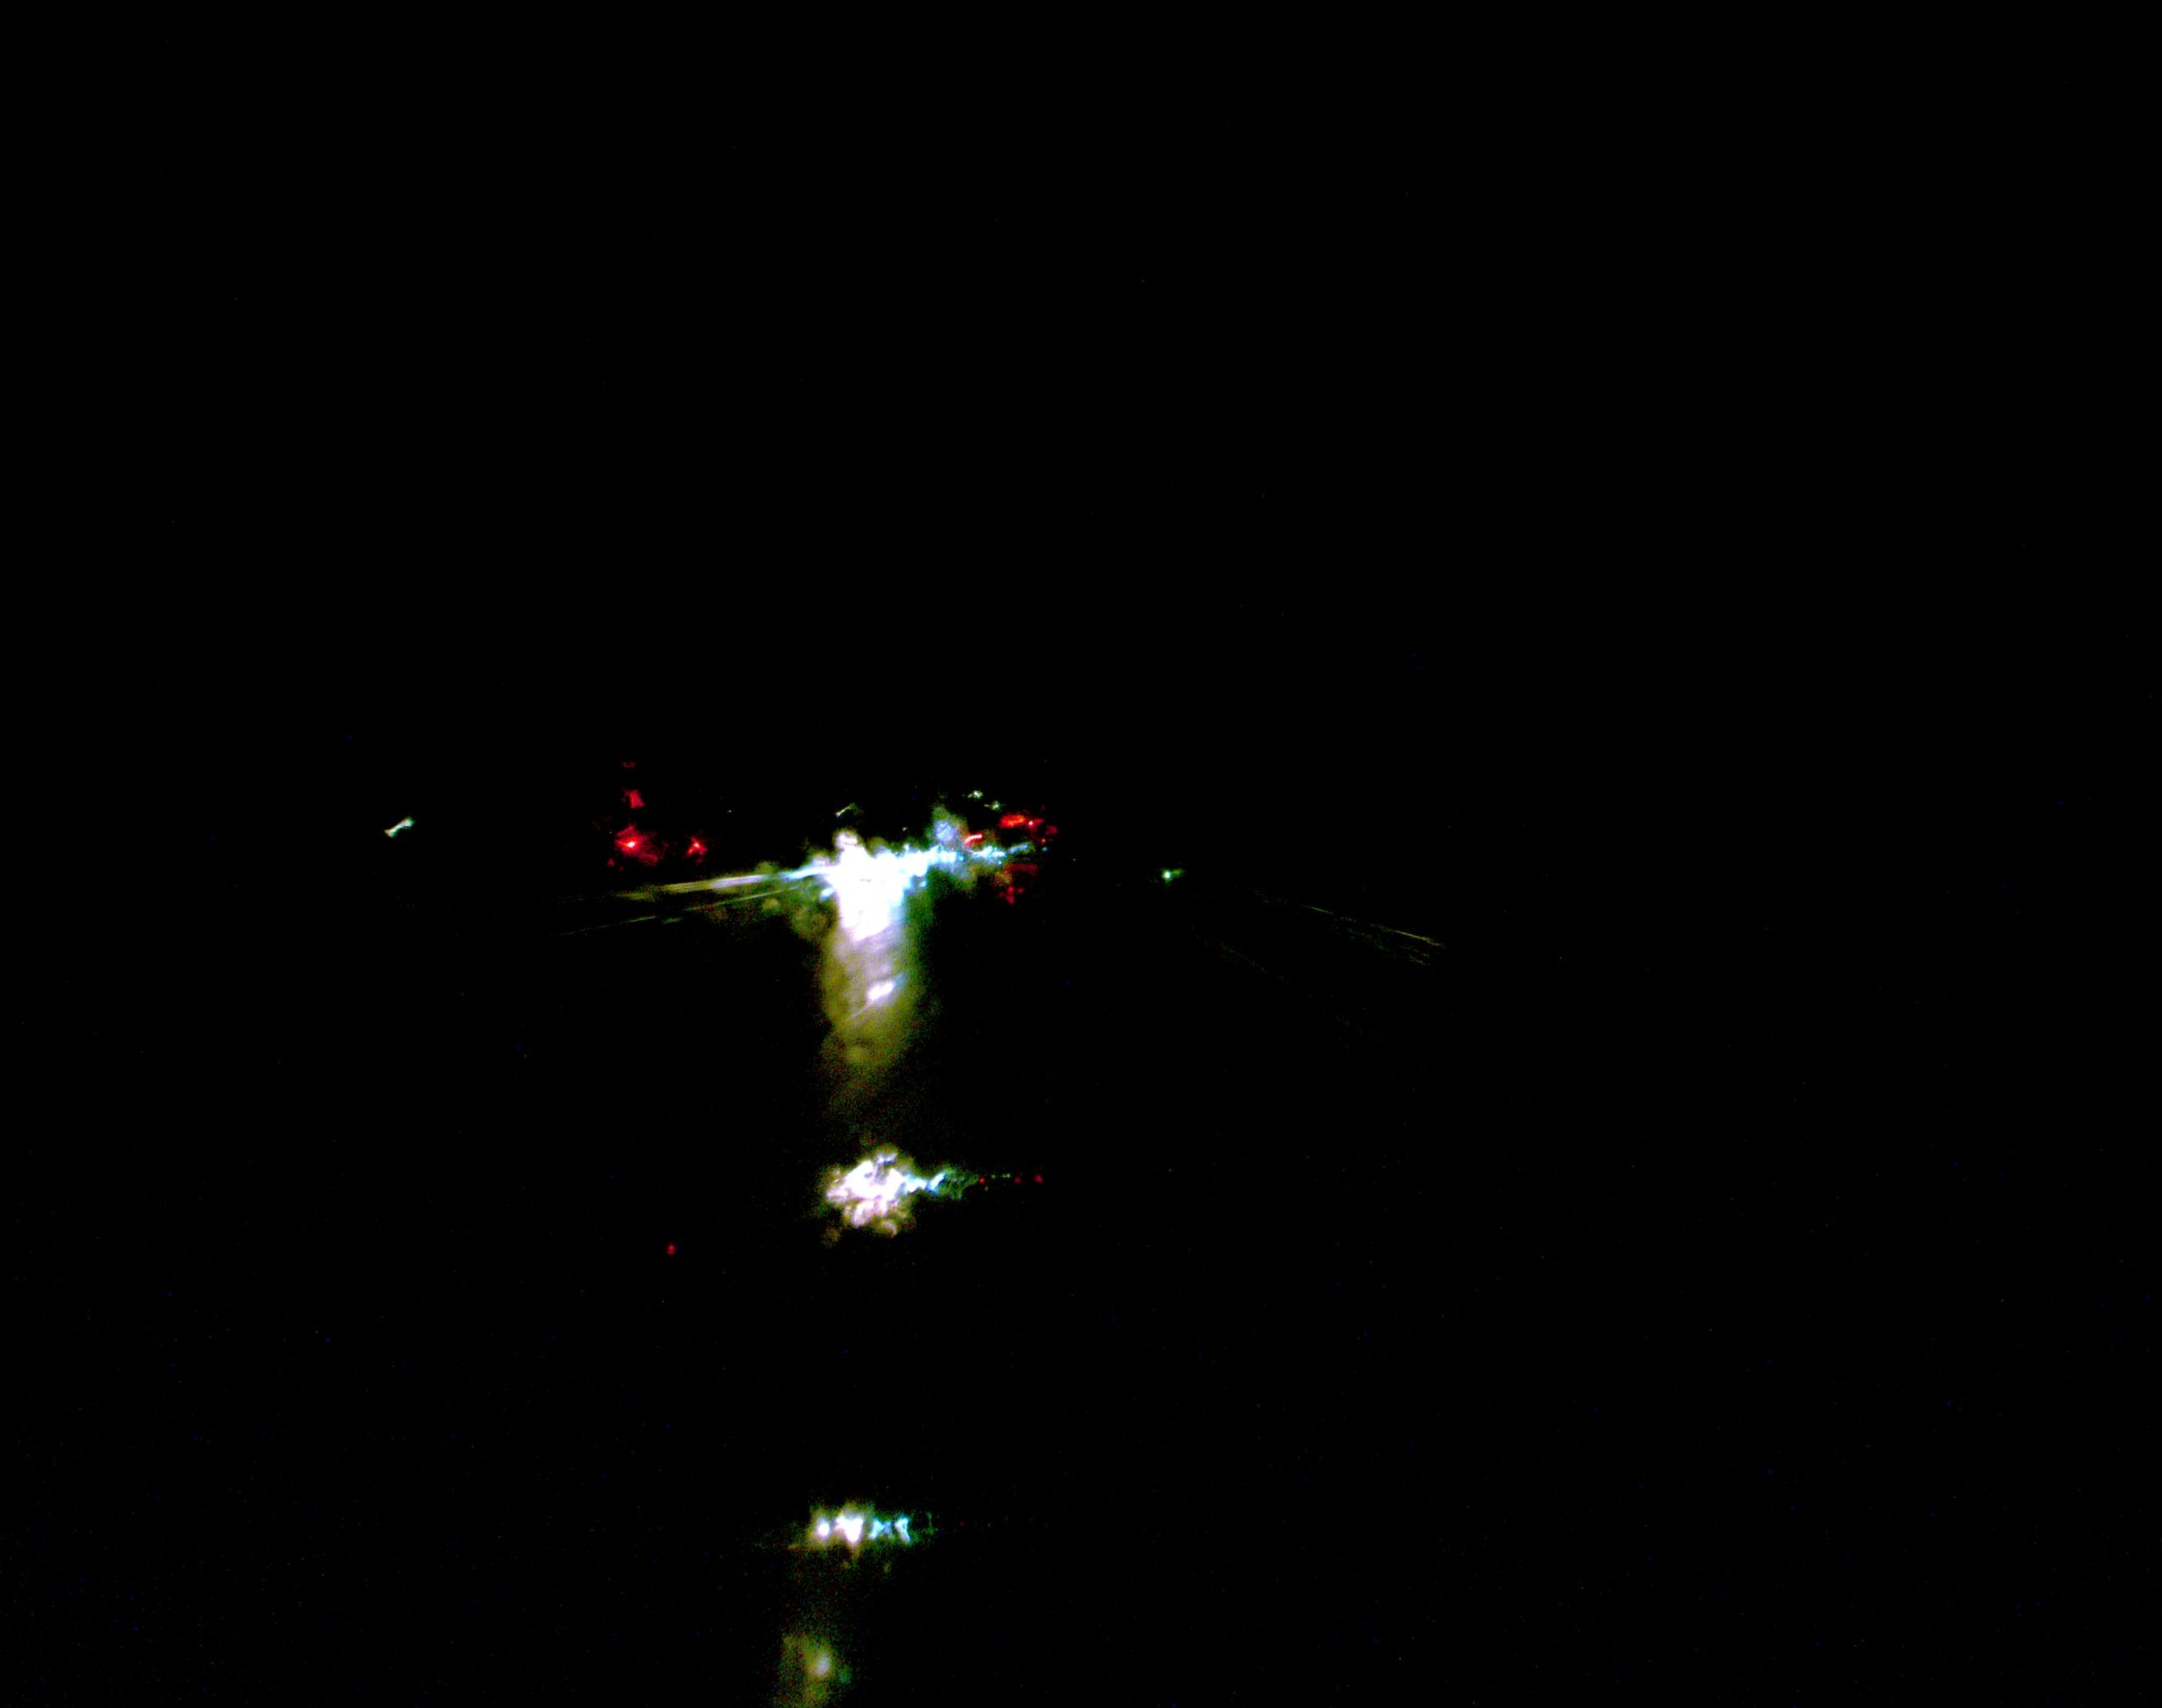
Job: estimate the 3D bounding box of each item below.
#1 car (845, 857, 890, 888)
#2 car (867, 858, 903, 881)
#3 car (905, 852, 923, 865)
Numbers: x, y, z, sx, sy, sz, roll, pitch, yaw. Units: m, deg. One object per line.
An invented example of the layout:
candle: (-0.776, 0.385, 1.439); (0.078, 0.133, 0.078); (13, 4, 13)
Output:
car: (-11.611, 0.956, 44.462); (1.879, 1.600, 3.890); (0, 0, -7)
car: (-14.912, 1.147, 62.130); (2.196, 1.745, 4.513); (0, 0, -7)
car: (-18.846, 0.518, 92.027); (1.833, 1.442, 4.474); (0, 0, -10)
